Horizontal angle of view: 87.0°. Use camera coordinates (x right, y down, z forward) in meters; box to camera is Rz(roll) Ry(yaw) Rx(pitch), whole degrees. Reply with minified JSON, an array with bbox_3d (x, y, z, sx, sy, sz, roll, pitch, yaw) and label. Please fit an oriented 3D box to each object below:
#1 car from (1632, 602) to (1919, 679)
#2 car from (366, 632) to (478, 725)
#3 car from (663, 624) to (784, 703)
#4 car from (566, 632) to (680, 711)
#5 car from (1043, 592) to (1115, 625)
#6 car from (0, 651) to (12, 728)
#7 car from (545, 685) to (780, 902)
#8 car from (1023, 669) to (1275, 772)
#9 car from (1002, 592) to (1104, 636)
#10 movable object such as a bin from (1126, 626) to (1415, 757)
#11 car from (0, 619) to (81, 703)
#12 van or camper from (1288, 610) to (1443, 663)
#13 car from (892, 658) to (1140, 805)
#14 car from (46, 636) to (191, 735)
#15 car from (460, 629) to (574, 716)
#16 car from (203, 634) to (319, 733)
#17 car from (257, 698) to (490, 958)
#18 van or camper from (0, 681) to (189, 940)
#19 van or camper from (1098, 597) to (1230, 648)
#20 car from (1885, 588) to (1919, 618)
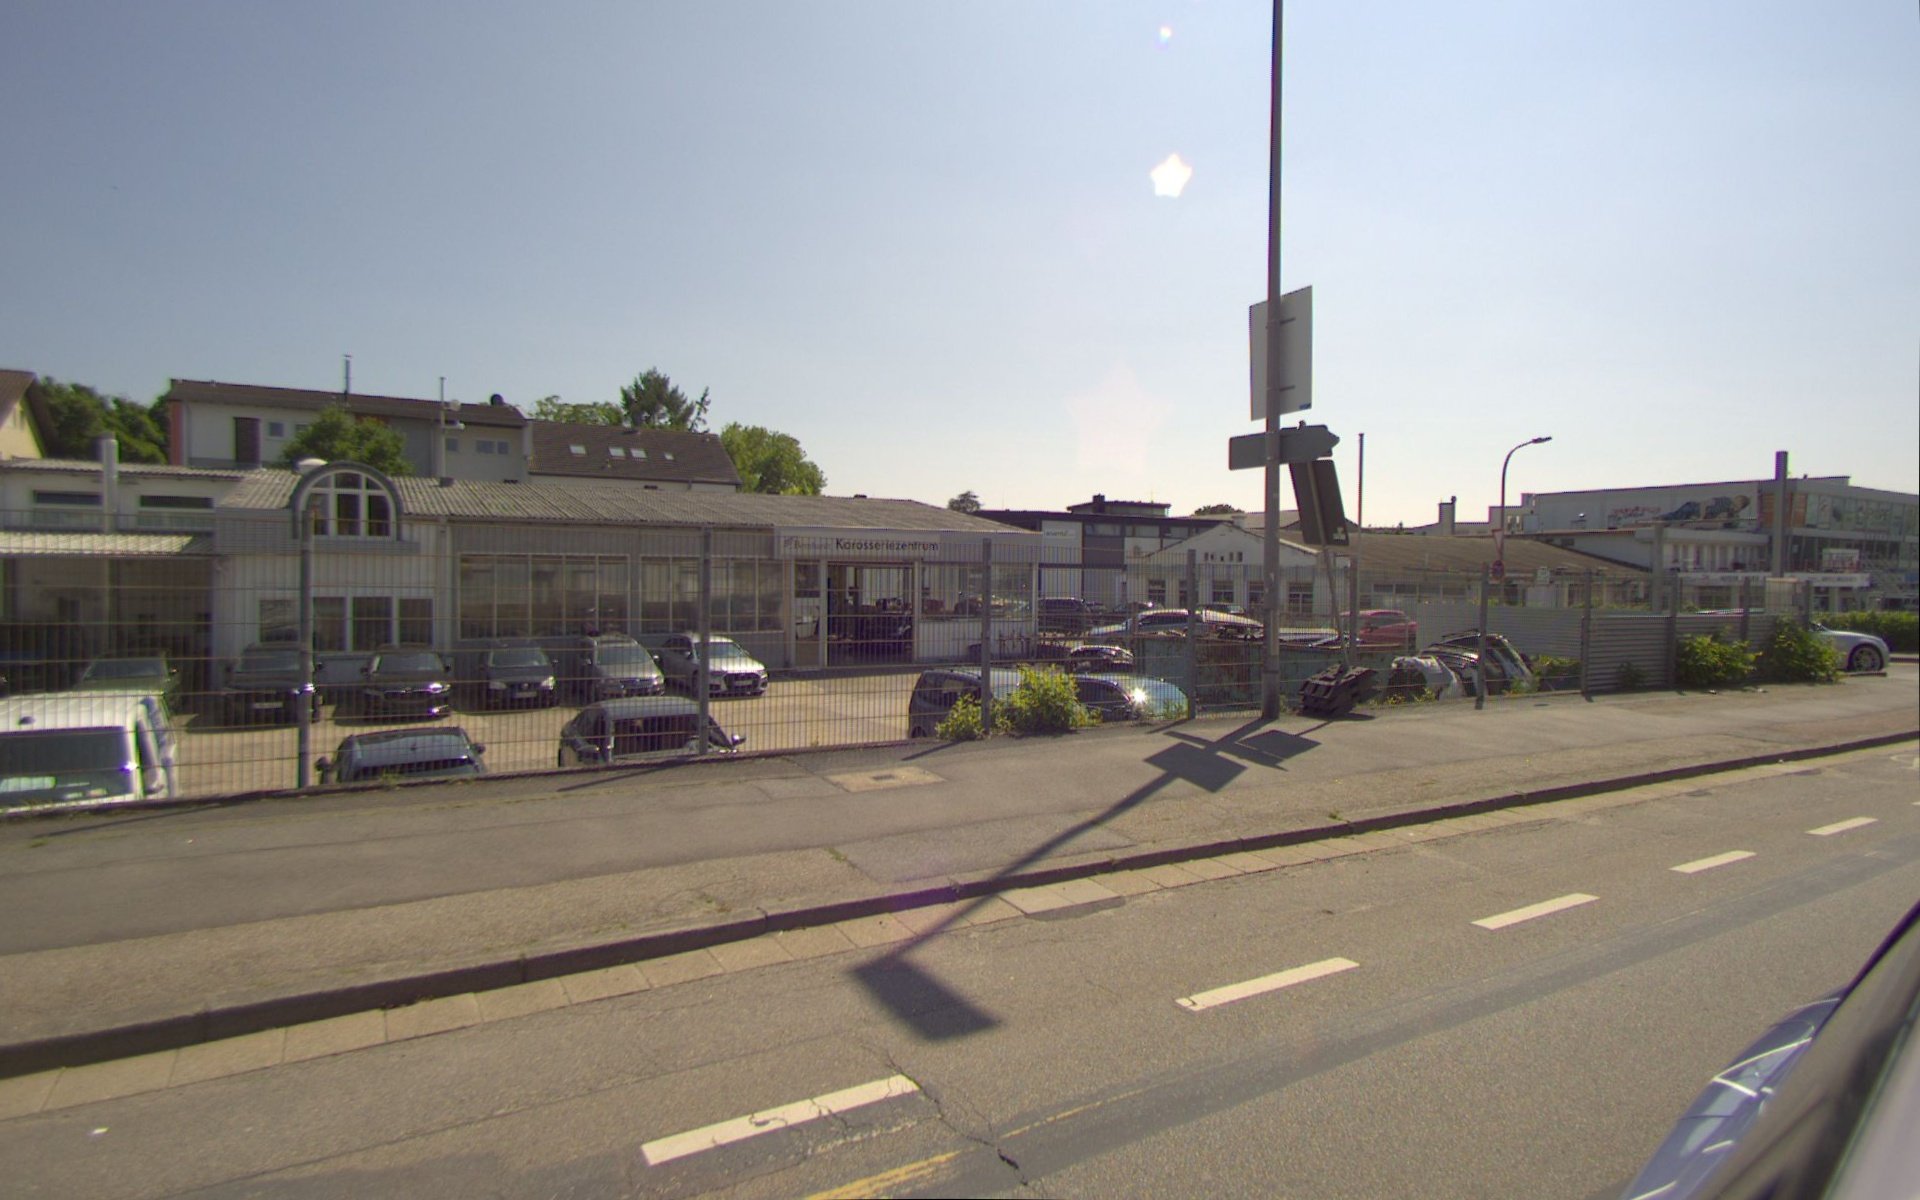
[{"bbox_3d":[16.569,0.818,20.602,4.411,1.376,1.958,-2,-2,-1],"label":"car"},{"bbox_3d":[-12.871,1.767,24.102,1.962,1.682,4.002,-2,3,-33],"label":"car"},{"bbox_3d":[-6.529,1.657,27.693,1.962,1.682,4.002,-2,3,-33],"label":"car"},{"bbox_3d":[-8.771,1.760,26.182,1.812,1.533,4.002,-2,3,-33],"label":"car"},{"bbox_3d":[6.765,0.455,57.826,1.962,1.682,4.001,1,1,-34],"label":"car"},{"bbox_3d":[-20.310,1.988,19.829,1.810,1.534,4.002,-2,3,-33],"label":"car"},{"bbox_3d":[-4.019,2.283,13.182,1.961,2.039,4.002,0,-1,-32],"label":"car"},{"bbox_3d":[3.079,1.938,17.233,1.962,1.320,3.999,0,-2,-35],"label":"car"},{"bbox_3d":[3.785,0.584,41.710,3.923,1.668,2.000,2,-1,-1],"label":"car"},{"bbox_3d":[5.526,1.533,18.830,1.960,2.040,5.135,0,-2,-31],"label":"movable object such as a bin"},{"bbox_3d":[-23.528,1.459,25.205,1.879,1.880,4.002,-1,0,-32],"label":"car"},{"bbox_3d":[11.584,1.036,28.871,4.146,1.369,2.000,0,-5,-33],"label":"van or camper"},{"bbox_3d":[0.736,1.904,15.900,1.961,1.671,4.003,0,1,-32],"label":"car"},{"bbox_3d":[-18.359,1.772,22.266,1.825,1.682,4.005,0,2,-31],"label":"car"},{"bbox_3d":[-11.271,1.736,25.599,1.962,1.682,4.002,-2,3,-33],"label":"car"},{"bbox_3d":[-15.548,1.760,22.643,1.961,1.682,4.003,0,3,-33],"label":"car"},{"bbox_3d":[-6.699,2.315,11.566,1.961,2.039,4.002,0,-1,-32],"label":"car"},{"bbox_3d":[-8.871,1.845,9.844,1.982,1.671,4.327,0,1,-35],"label":"van or camper"},{"bbox_3d":[7.187,0.772,35.940,4.145,1.561,2.004,-1,5,-4],"label":"van or camper"},{"bbox_3d":[80.094,0.276,83.385,2.282,2.449,5.315,0,1,-35],"label":"car"}]
